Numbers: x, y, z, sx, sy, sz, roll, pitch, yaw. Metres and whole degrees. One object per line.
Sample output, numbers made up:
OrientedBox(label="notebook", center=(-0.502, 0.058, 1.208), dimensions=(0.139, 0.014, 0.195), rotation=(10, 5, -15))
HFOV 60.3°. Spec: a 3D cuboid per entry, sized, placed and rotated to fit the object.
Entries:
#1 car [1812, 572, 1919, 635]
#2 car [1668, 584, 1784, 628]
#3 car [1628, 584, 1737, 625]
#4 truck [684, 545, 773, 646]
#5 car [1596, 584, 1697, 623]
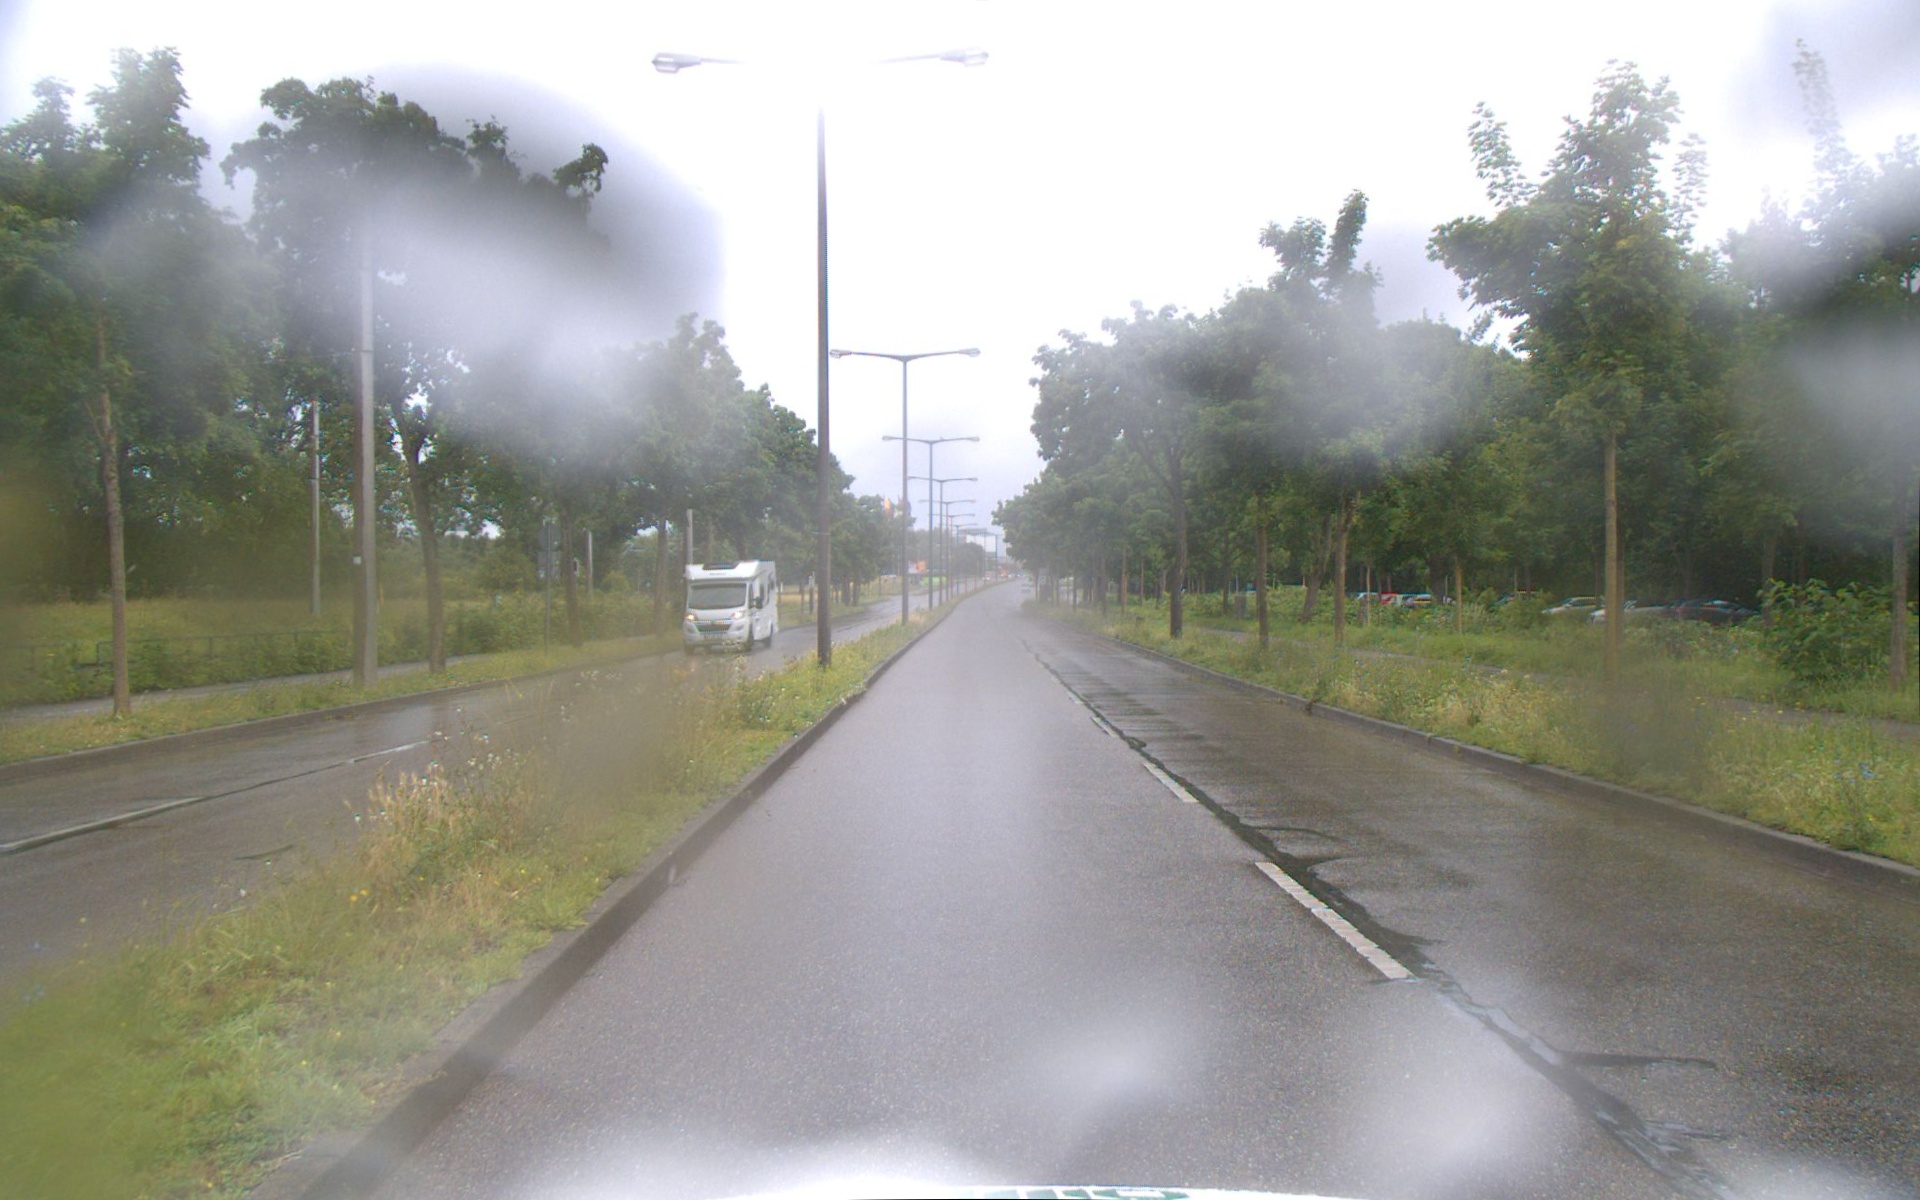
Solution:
OrientedBox(label="car", center=(28.900, 0.125, 51.400), dimensions=(3.874, 1.852, 1.896), rotation=(1, 0, 0))
OrientedBox(label="car", center=(31.175, 0.230, 67.411), dimensions=(3.903, 1.669, 1.808), rotation=(1, 0, 5))
OrientedBox(label="car", center=(31.051, 0.199, 71.197), dimensions=(3.903, 1.669, 1.808), rotation=(1, 0, 5))
OrientedBox(label="truck", center=(-7.095, -0.116, 51.166), dimensions=(2.095, 2.893, 5.072), rotation=(-2, -1, -2))
OrientedBox(label="car", center=(31.703, 0.167, 76.469), dimensions=(3.903, 1.669, 1.808), rotation=(1, 0, 5))
